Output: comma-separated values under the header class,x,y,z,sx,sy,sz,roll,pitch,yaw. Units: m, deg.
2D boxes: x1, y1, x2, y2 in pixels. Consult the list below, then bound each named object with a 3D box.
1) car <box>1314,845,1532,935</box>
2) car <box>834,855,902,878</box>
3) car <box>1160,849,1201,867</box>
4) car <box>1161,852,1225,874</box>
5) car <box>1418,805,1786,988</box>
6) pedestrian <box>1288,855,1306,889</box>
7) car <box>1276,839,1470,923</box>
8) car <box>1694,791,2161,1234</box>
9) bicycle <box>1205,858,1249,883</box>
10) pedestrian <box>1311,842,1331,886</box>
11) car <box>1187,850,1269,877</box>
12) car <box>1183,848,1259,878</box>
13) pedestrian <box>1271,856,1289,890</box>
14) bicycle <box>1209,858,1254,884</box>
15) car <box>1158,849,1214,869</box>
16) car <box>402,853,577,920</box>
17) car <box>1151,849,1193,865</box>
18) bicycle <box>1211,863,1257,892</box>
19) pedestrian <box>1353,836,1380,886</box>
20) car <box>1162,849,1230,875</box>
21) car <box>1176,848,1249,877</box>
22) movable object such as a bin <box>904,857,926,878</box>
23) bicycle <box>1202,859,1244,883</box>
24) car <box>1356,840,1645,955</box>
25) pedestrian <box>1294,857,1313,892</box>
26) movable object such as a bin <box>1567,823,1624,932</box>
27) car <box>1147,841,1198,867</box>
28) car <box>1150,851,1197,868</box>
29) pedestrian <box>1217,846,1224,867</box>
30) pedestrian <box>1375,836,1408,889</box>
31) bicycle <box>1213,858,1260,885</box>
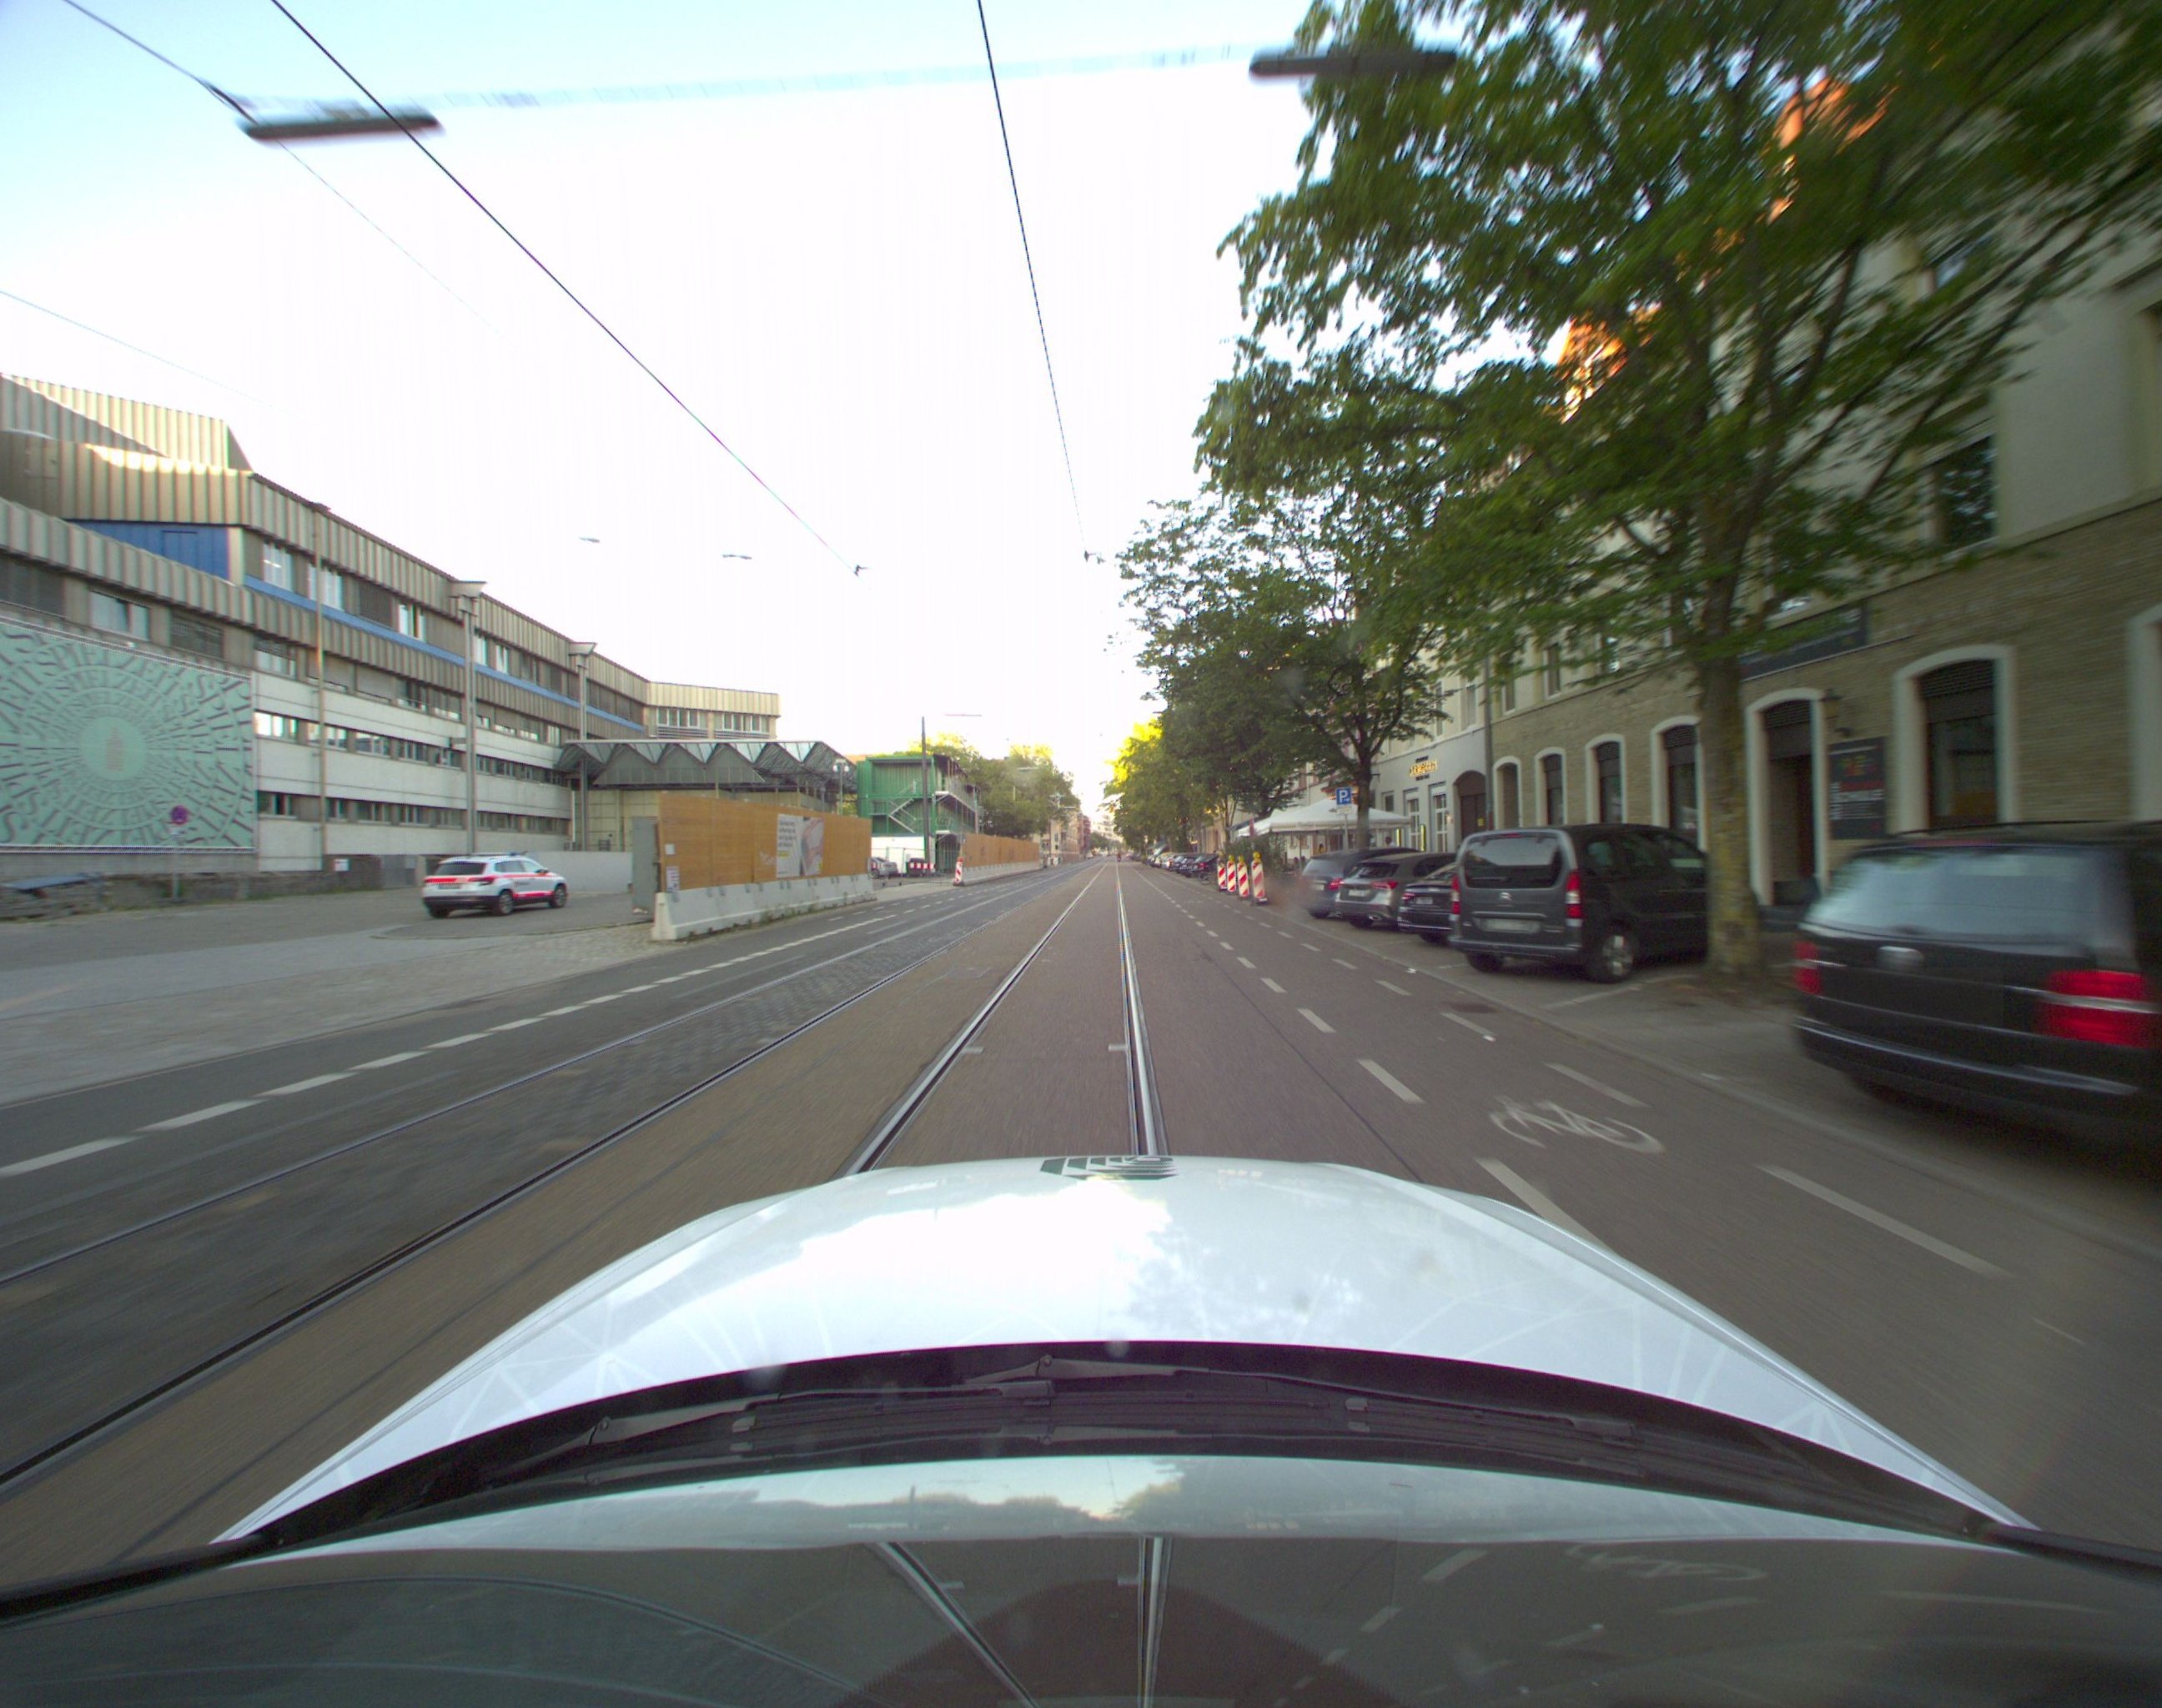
class,x,y,z,sx,sy,sz,roll,pitch,yaw
car,6.597,0.635,15.709,3.789,1.408,1.693,-3,0,-23
car,-13.917,0.799,53.316,3.964,1.402,1.743,1,0,17
car,10.003,0.386,82.436,3.934,1.619,1.922,-3,-1,2
car,8.366,0.651,60.729,4.267,1.392,2.001,-3,0,-21
car,6.573,0.410,10.270,4.169,1.806,1.990,-3,0,-26
pedestrian,8.342,0.704,31.498,0.501,1.292,0.599,-1,0,-2
car,6.537,0.556,18.229,3.979,1.553,1.693,-3,0,-23
car,6.313,0.490,4.329,4.639,1.688,2.005,-4,0,-3
bicycle,6.863,0.775,38.410,1.880,1.067,0.674,-4,0,0
pedestrian,9.667,0.388,32.876,0.548,1.763,0.894,-1,0,2
car,8.265,0.525,45.906,4.171,1.426,1.813,-1,0,-17
car,8.307,0.521,48.560,3.955,1.470,1.991,-4,0,-14
pedestrian,7.676,0.734,31.451,0.501,1.292,0.599,-1,0,-2
bicycle,6.796,0.780,36.896,1.880,1.031,0.608,-4,0,0
car,8.848,0.426,68.947,4.249,1.549,2.014,-3,0,-9
car,-16.213,0.813,22.657,1.990,1.664,4.272,-1,0,-5
car,9.649,0.355,86.193,3.966,1.486,1.907,-3,-1,-22
bicycle,6.077,0.944,32.469,1.673,1.031,0.557,-4,0,0
pedestrian,10.230,0.254,29.226,0.551,1.763,0.850,0,0,-10
car,7.981,0.550,56.414,4.133,1.470,2.000,-4,0,-22
car,8.252,0.545,51.288,4.122,1.470,1.815,-4,0,-14
movable object such as a bin,-11.273,0.930,55.236,1.302,1.369,0.784,-1,0,-1
bicycle,6.861,0.826,39.413,1.897,1.031,0.533,-4,0,0
car,6.793,0.610,13.174,4.330,1.389,1.792,-4,0,-24
pedestrian,8.226,0.758,30.130,0.595,1.292,0.504,-1,0,4
movable object such as a bin,9.778,0.431,15.496,0.611,2.013,0.695,-1,0,1
car,10.215,0.036,91.061,5.104,2.642,2.011,-3,-1,-15
car,8.940,0.491,78.917,4.139,1.425,1.906,-3,-1,-23
pedestrian,12.186,0.229,71.330,0.562,1.814,0.608,-1,0,7
pedestrian,10.339,0.275,27.119,0.705,1.763,0.709,0,0,-26
bicycle,6.776,0.744,35.491,1.880,1.031,0.608,-4,0,0
